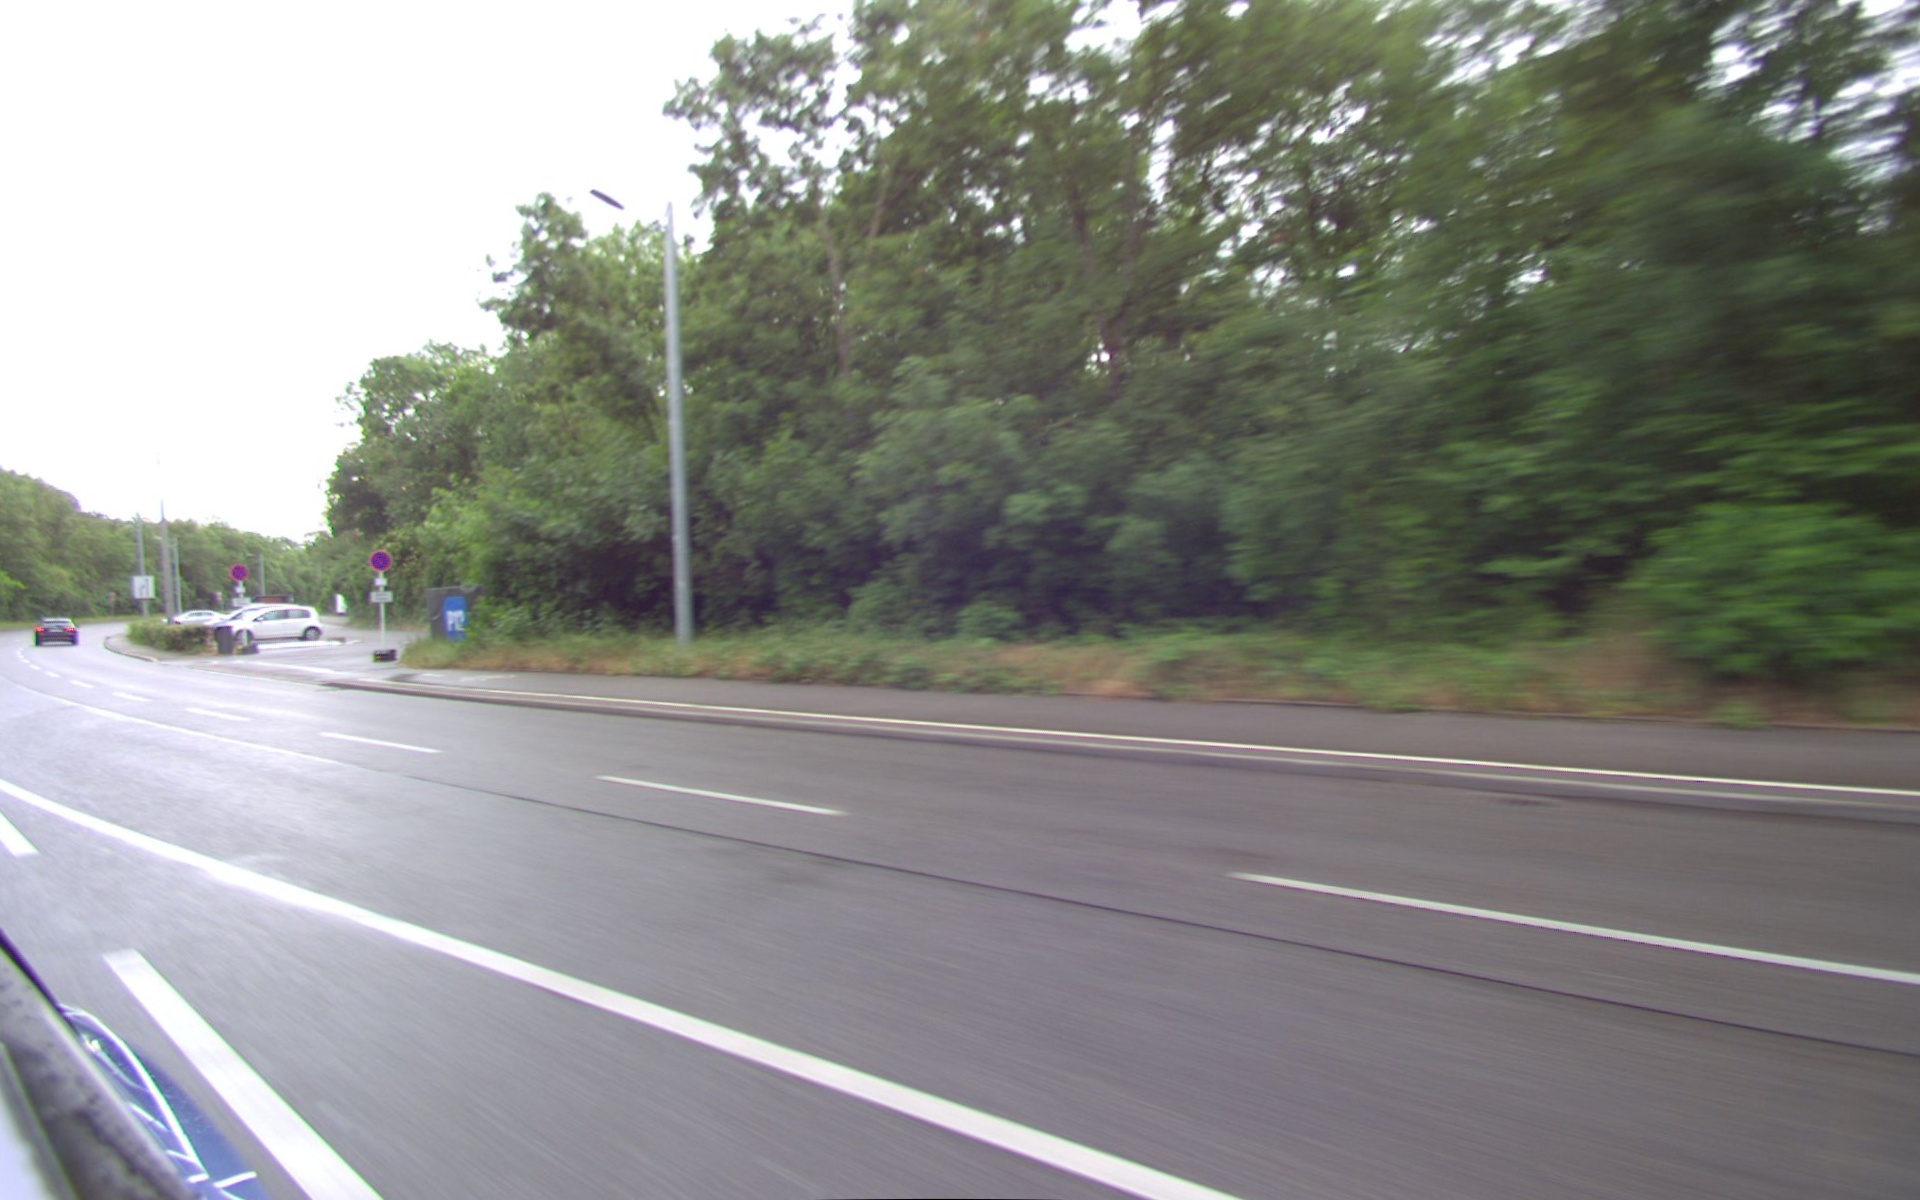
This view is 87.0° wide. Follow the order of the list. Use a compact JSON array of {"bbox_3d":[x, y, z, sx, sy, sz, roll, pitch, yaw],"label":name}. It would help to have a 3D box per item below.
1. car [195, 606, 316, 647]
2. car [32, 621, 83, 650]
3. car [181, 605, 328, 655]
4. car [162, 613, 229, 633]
[{"bbox_3d":[-32.354,1.188,46.567,4.318,1.613,1.758,-3,2,-43],"label":"car"},{"bbox_3d":[-48.973,1.875,54.966,1.829,1.484,3.921,0,-1,-38],"label":"car"},{"bbox_3d":[-29.090,1.180,41.854,4.688,1.729,1.896,-3,2,-45],"label":"car"},{"bbox_3d":[-62.162,1.883,82.316,4.148,1.495,1.909,-1,0,-44],"label":"car"}]
